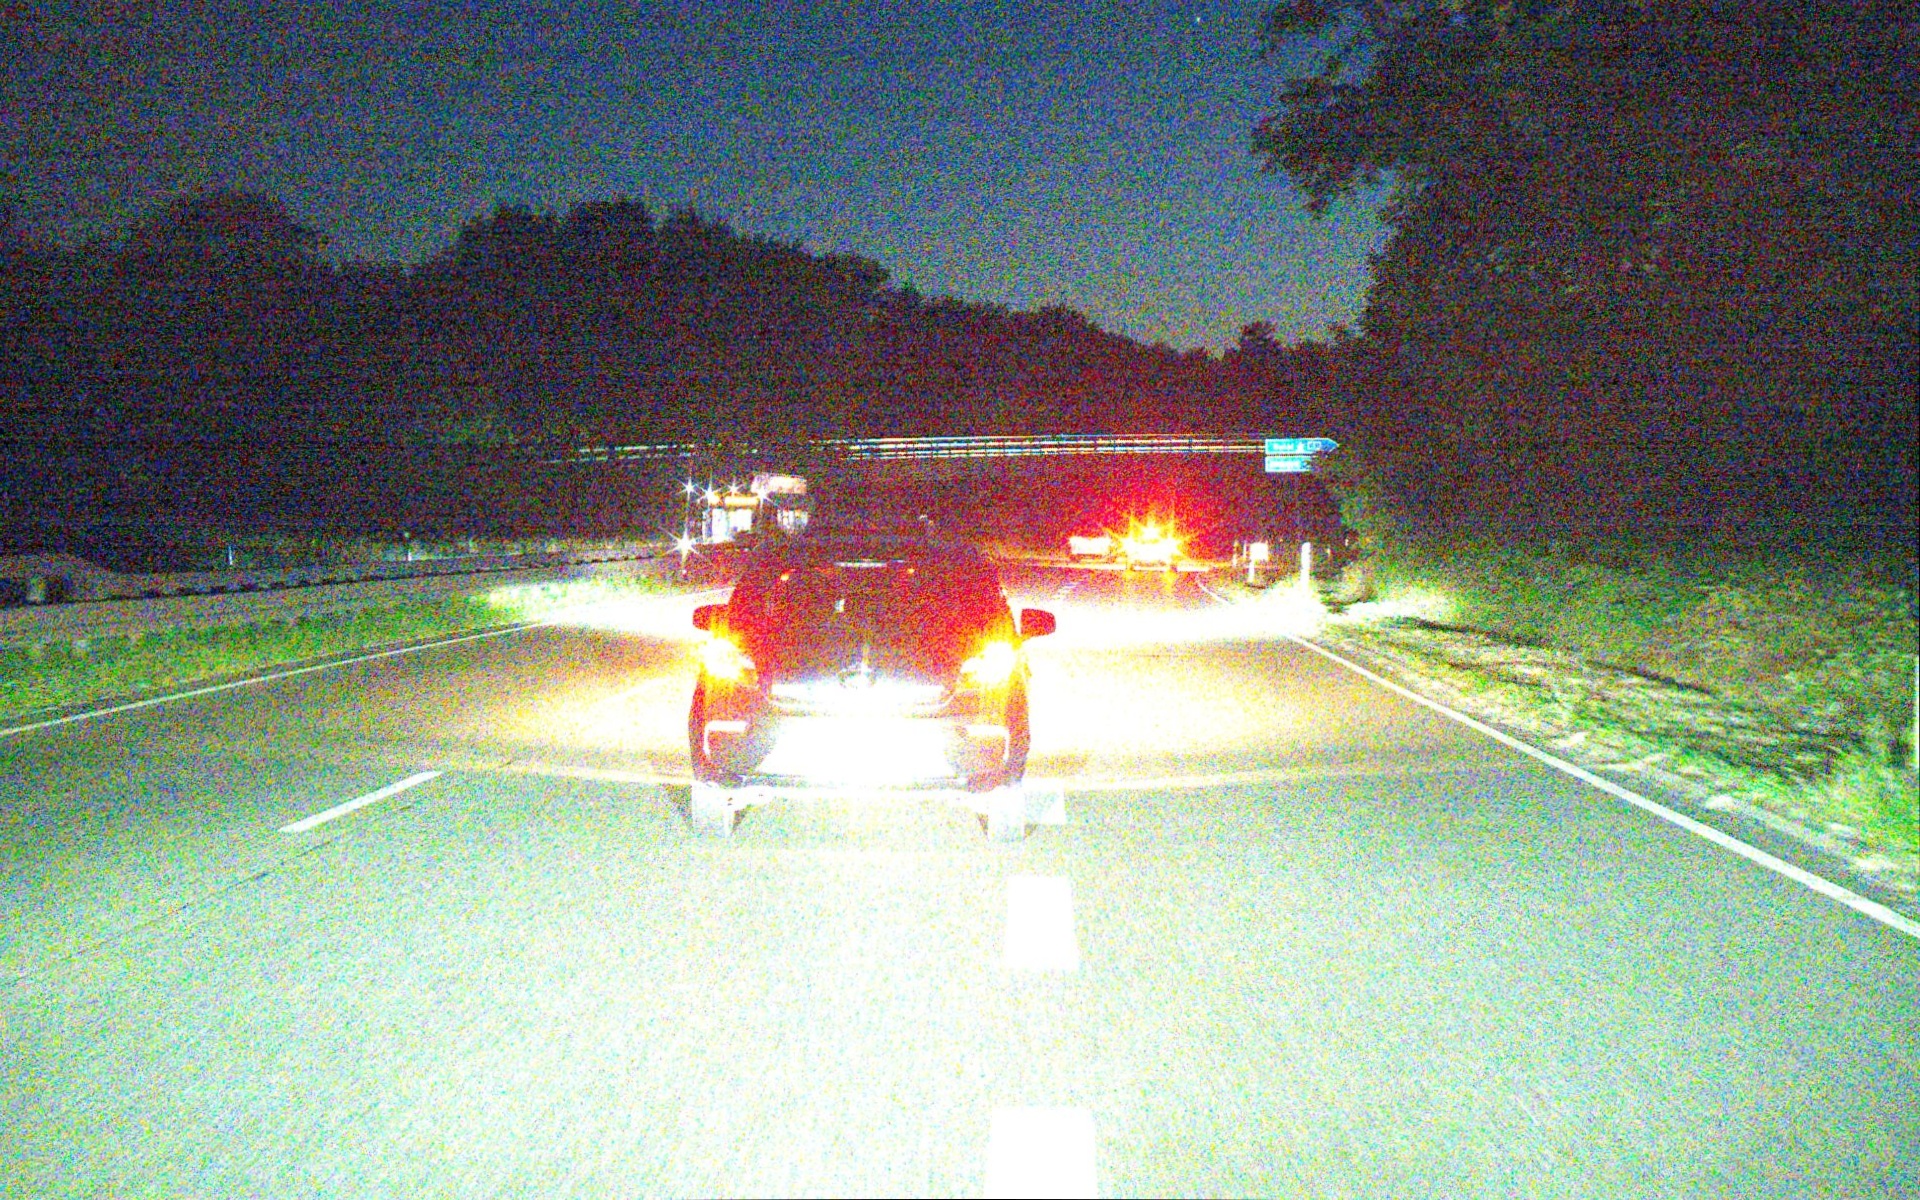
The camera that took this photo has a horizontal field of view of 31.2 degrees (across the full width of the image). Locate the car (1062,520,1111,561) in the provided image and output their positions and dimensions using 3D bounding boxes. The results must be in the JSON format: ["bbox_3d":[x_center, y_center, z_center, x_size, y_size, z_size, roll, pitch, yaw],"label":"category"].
[{"bbox_3d":[5.411,-2.513,146.925,1.951,1.533,4.241,-4,0,2],"label":"car"}]

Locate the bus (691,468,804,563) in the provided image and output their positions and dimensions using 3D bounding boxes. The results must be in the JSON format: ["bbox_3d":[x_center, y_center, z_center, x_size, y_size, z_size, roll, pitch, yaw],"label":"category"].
[{"bbox_3d":[-7.900,-3.242,129.402,2.924,3.376,12.307,1,2,3],"label":"bus"}]

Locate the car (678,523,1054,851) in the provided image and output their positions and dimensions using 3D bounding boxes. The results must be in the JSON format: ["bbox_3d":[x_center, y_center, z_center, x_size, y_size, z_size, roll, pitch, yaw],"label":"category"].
[{"bbox_3d":[-0.521,0.354,17.713,1.691,1.472,4.001,1,1,-3],"label":"car"}]

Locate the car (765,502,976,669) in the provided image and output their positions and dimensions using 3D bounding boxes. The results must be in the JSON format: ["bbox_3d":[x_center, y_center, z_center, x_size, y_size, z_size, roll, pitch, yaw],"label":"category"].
[{"bbox_3d":[-0.866,-0.202,35.984,1.940,1.603,4.644,1,2,1],"label":"car"}]

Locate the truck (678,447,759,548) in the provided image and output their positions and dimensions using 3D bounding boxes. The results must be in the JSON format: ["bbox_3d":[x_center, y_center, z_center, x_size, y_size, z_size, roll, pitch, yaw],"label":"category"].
[{"bbox_3d":[-10.179,-4.347,145.424,2.676,4.163,5.868,0,2,3],"label":"truck"}]

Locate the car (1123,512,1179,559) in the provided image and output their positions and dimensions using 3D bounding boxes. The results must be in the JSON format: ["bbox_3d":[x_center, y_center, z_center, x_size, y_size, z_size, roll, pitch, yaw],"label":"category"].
[{"bbox_3d":[6.606,-2.246,119.401,1.733,1.612,3.799,1,1,0],"label":"car"}]
